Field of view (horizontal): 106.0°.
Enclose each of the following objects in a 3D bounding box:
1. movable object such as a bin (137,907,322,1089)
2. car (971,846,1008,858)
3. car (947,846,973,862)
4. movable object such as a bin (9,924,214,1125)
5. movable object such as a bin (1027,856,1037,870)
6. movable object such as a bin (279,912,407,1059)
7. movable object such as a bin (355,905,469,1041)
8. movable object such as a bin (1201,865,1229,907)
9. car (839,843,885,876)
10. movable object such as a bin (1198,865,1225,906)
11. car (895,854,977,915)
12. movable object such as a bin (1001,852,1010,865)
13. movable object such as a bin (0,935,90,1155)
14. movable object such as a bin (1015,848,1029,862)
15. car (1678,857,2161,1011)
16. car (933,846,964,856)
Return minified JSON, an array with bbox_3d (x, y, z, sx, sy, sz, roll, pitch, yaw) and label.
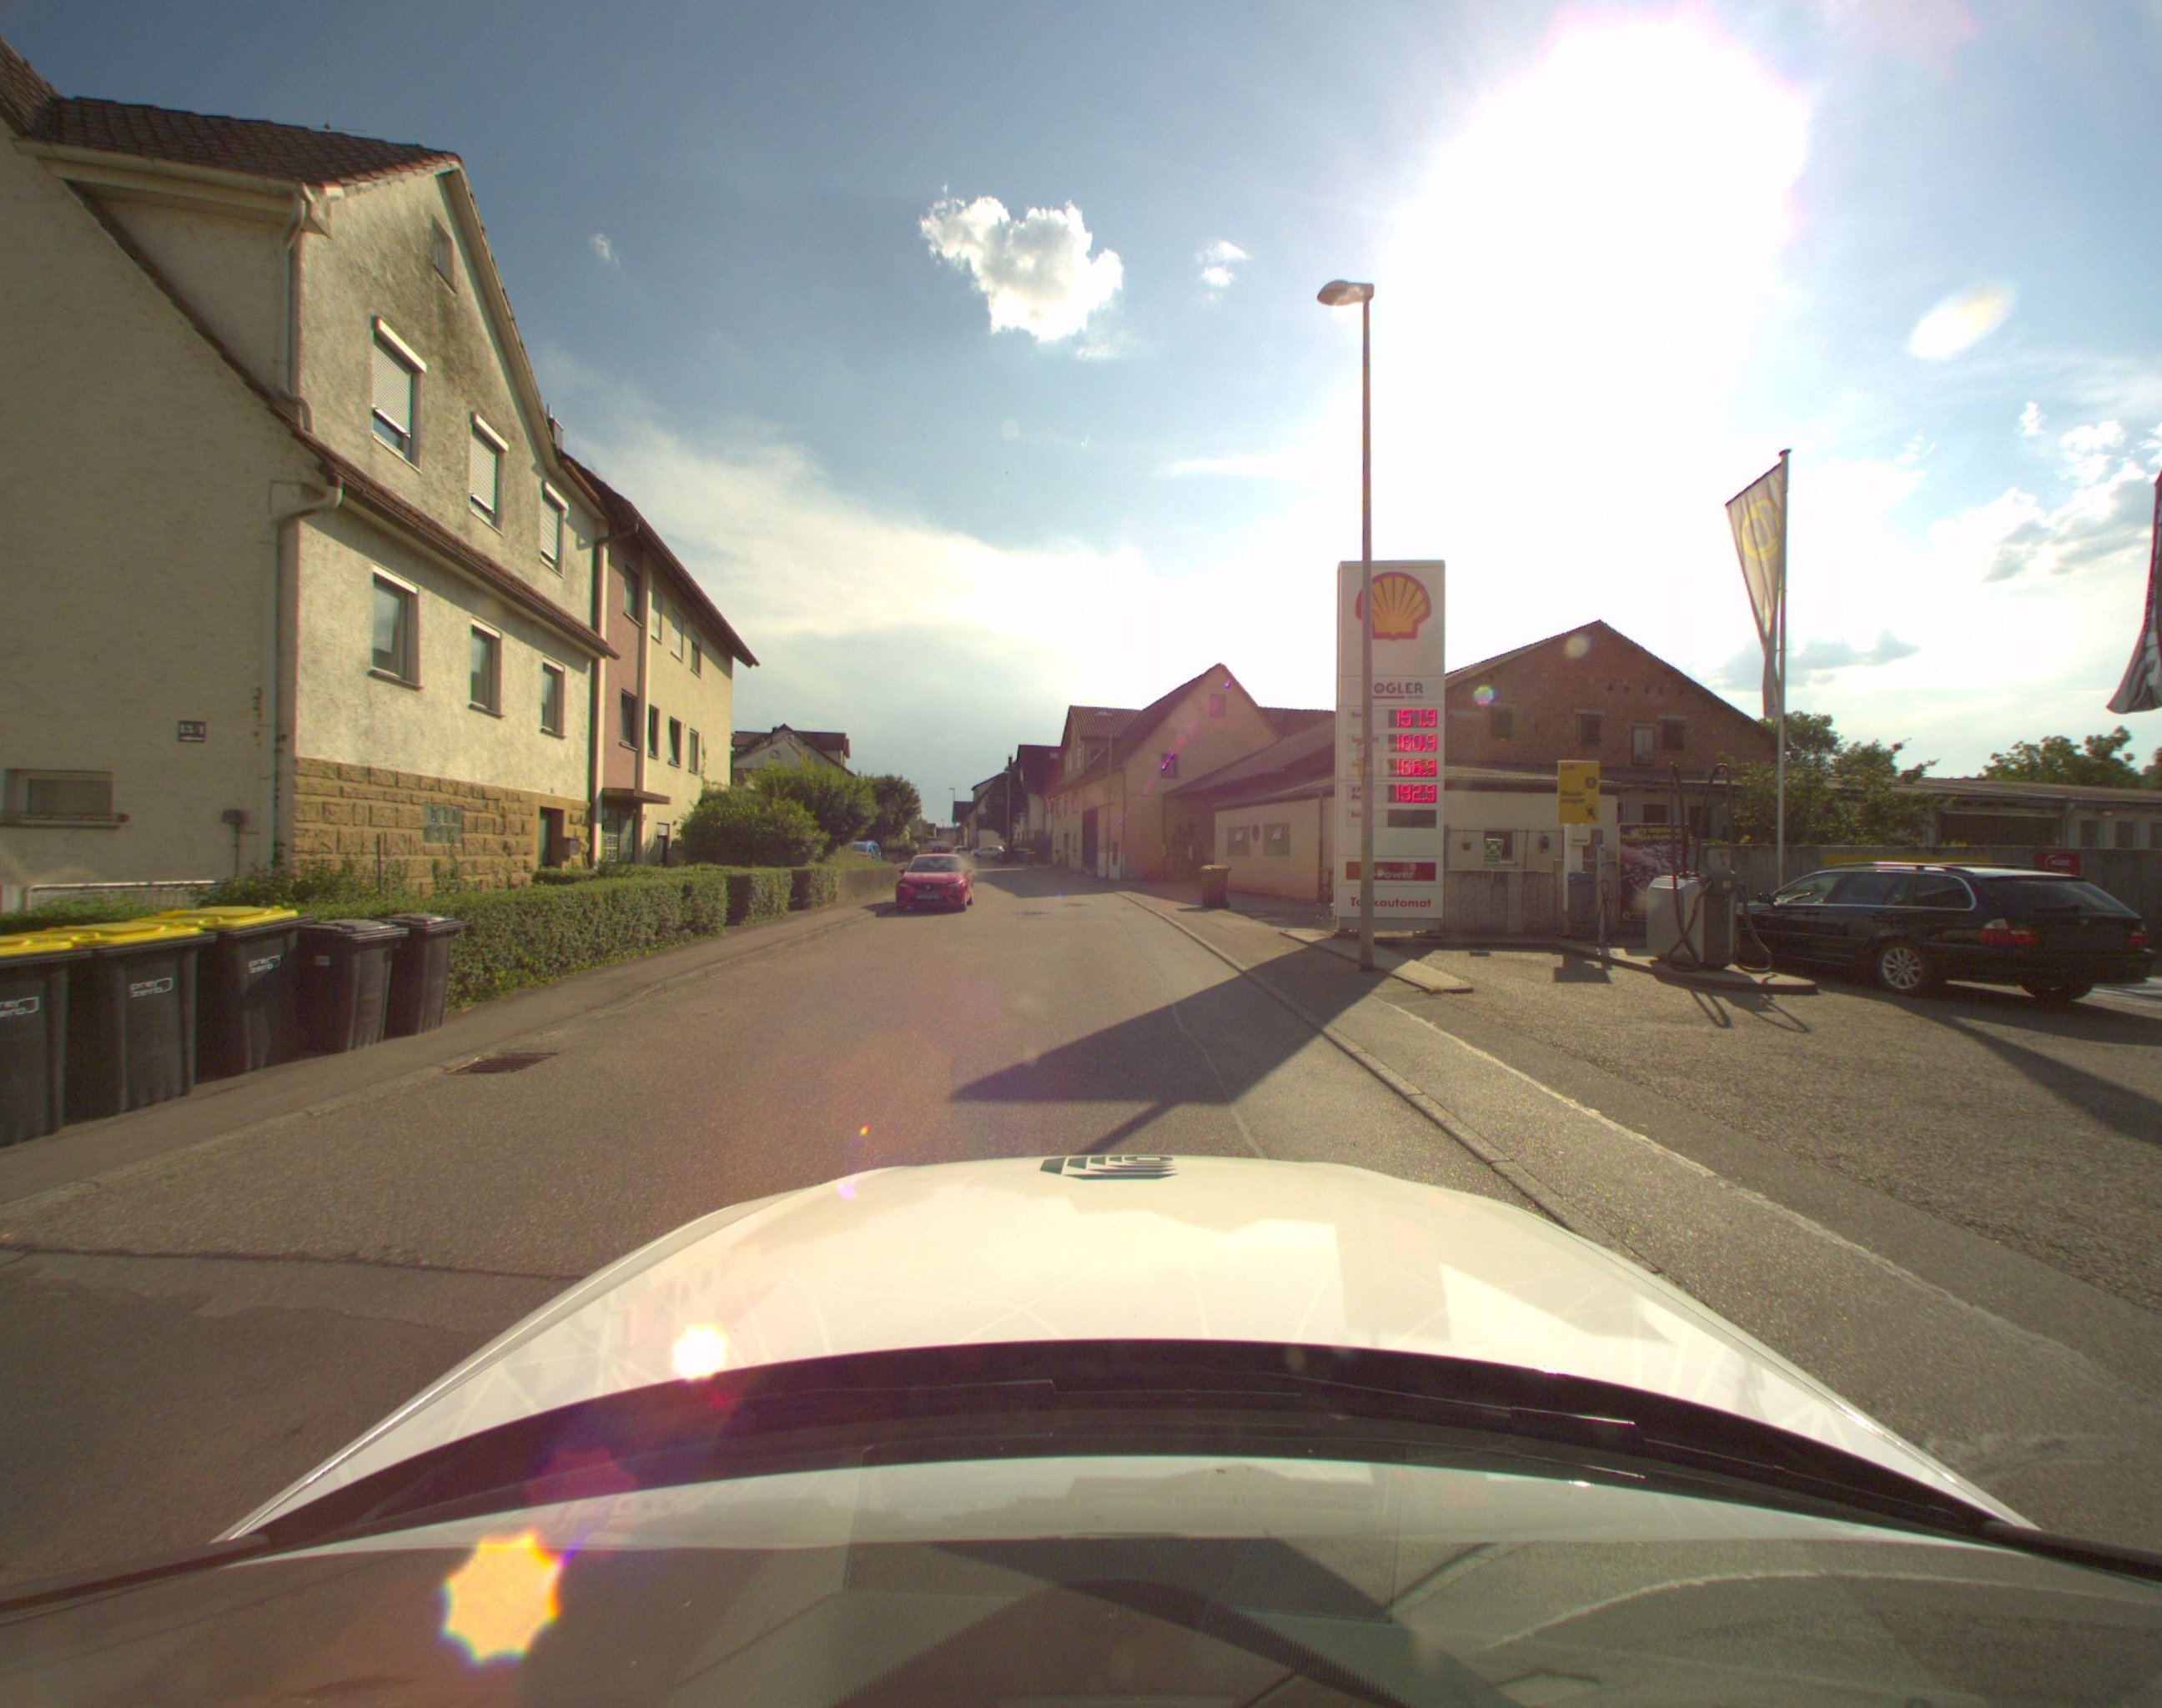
[{"bbox_3d":[-5.762,0.947,5.541,0.586,1.122,0.617,-1,0,2],"label":"movable object such as a bin"},{"bbox_3d":[-10.218,-0.228,91.034,3.982,1.352,1.707,0,0,-6],"label":"car"},{"bbox_3d":[-12.082,-0.013,81.260,1.711,1.578,3.972,0,0,-21],"label":"car"},{"bbox_3d":[-5.793,0.993,4.892,0.586,1.084,0.530,-1,0,2],"label":"movable object such as a bin"},{"bbox_3d":[-3.659,0.667,60.280,0.653,1.073,0.511,0,0,-13],"label":"movable object such as a bin"},{"bbox_3d":[-5.512,0.964,6.101,0.529,1.022,0.458,-1,0,2],"label":"movable object such as a bin"},{"bbox_3d":[-5.426,0.948,6.620,0.529,1.022,0.458,-1,0,2],"label":"movable object such as a bin"},{"bbox_3d":[3.468,0.831,21.124,0.651,1.073,0.513,0,0,0],"label":"movable object such as a bin"},{"bbox_3d":[-9.745,0.241,36.394,1.356,1.372,3.191,-1,-1,-4],"label":"car"},{"bbox_3d":[3.468,0.828,21.679,0.651,1.073,0.513,0,0,0],"label":"movable object such as a bin"},{"bbox_3d":[-3.737,0.749,21.522,1.705,1.435,3.774,-1,-1,-4],"label":"car"},{"bbox_3d":[-6.391,0.380,68.713,0.653,1.073,0.511,0,0,-13],"label":"movable object such as a bin"},{"bbox_3d":[-5.805,1.001,4.269,0.586,1.084,0.508,-1,0,2],"label":"movable object such as a bin"},{"bbox_3d":[-5.074,0.111,70.491,1.160,1.168,0.653,0,0,-10],"label":"movable object such as a bin"},{"bbox_3d":[9.685,0.774,10.014,1.572,1.427,4.382,1,0,1],"label":"car"},{"bbox_3d":[-17.890,-0.407,110.067,3.991,1.352,1.703,0,0,-13],"label":"car"}]
